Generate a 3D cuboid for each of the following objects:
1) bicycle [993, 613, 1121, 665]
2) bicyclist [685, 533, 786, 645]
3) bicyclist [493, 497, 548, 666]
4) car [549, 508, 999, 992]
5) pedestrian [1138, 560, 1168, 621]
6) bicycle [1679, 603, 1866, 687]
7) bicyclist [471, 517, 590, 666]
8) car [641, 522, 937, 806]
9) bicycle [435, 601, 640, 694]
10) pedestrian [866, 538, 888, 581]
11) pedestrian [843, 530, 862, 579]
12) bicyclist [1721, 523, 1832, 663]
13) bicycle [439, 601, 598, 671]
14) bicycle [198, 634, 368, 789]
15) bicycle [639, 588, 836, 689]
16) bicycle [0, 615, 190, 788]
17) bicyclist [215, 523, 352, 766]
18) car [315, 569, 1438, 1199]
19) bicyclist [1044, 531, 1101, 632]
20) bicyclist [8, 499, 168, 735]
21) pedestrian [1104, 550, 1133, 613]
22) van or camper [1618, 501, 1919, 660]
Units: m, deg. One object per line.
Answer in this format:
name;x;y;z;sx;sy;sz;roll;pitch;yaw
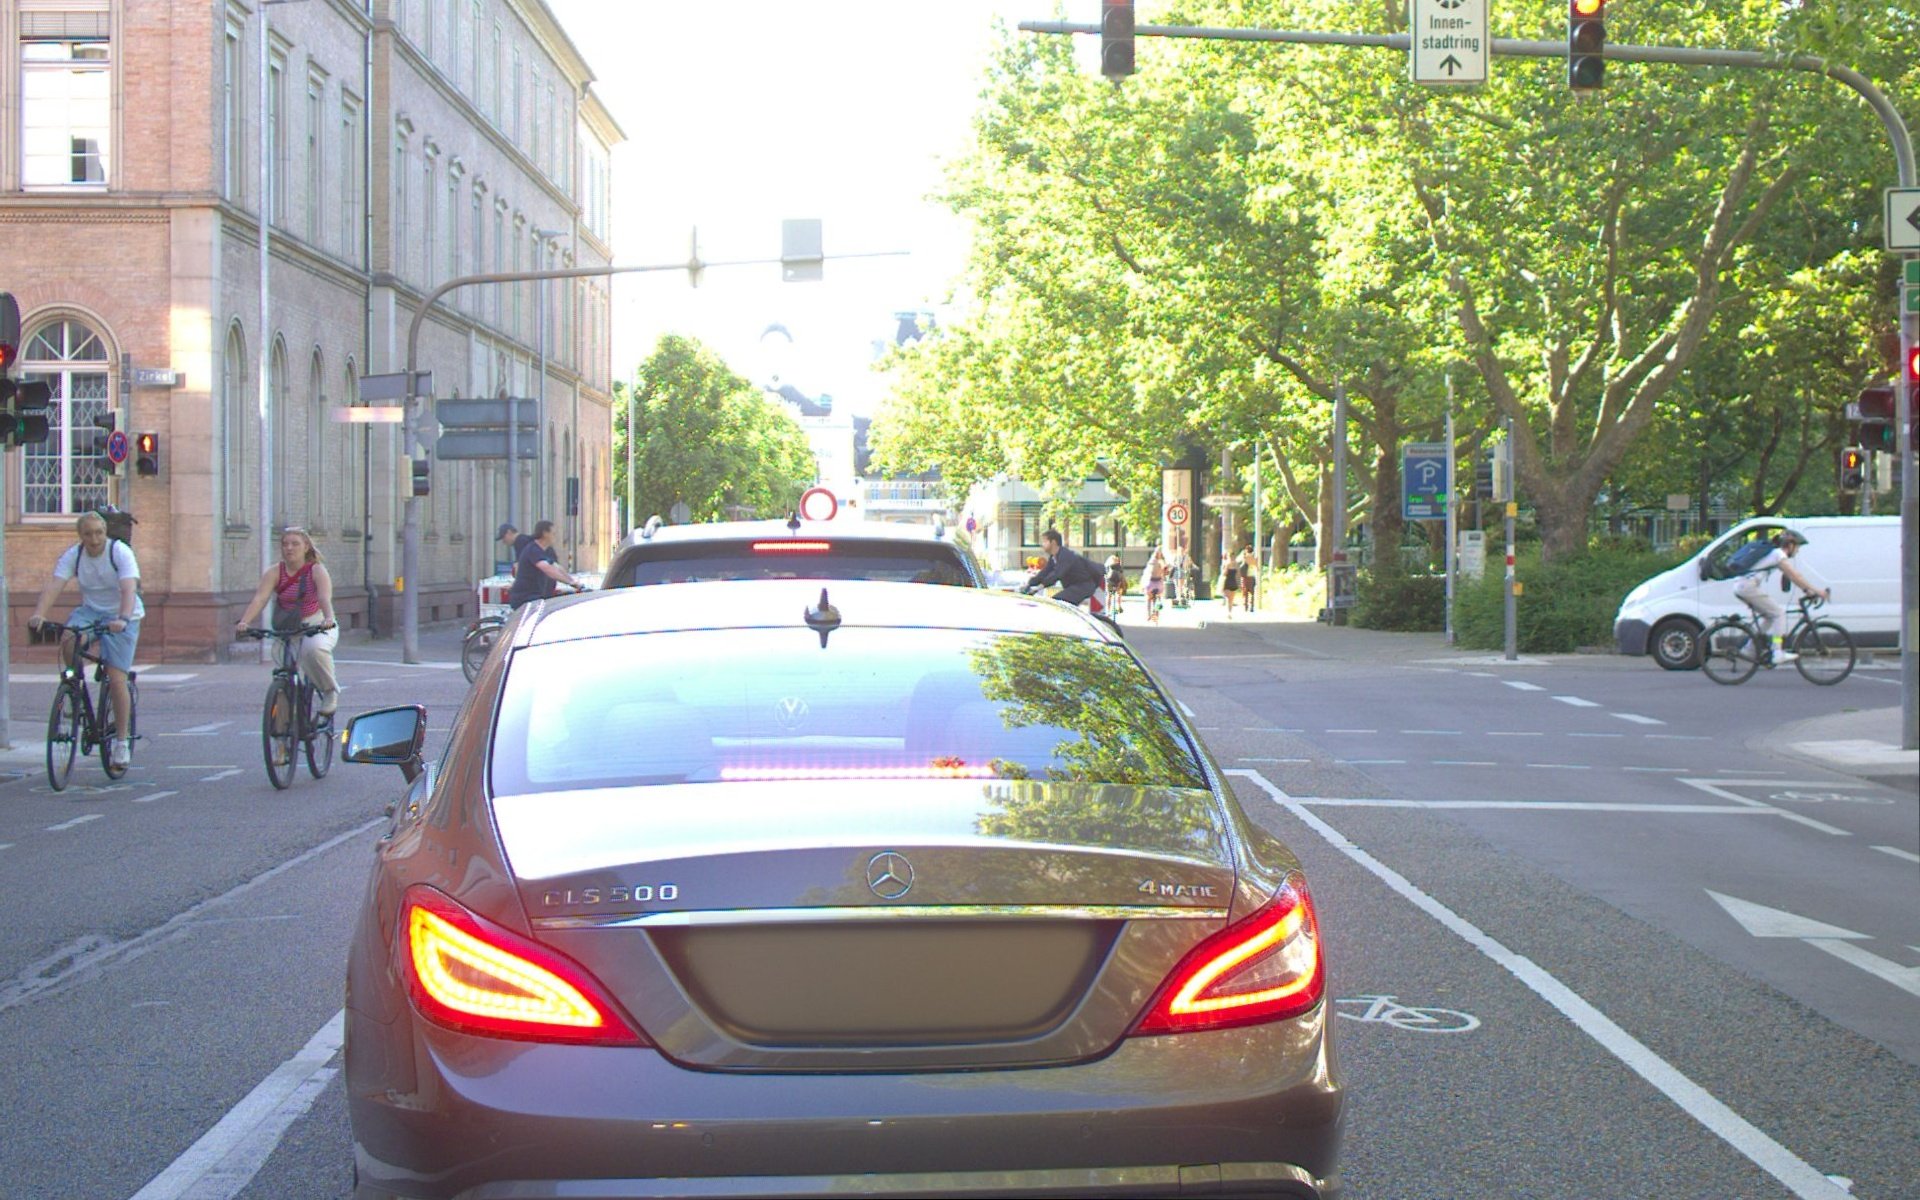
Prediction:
bicycle;1.211;0.482;42.931;1.587;0.632;0.496;0;1;3
bicyclist;-2.327;-0.123;35.745;0.991;1.150;0.620;0;1;2
bicyclist;-5.281;-0.225;41.288;0.652;2.007;0.440;0;1;-8
car;-0.724;0.483;13.692;1.517;1.641;3.881;1;1;-3
pedestrian;4.593;-0.231;81.874;0.648;1.428;0.659;0;1;-1
bicycle;8.889;0.487;37.656;1.893;0.879;0.725;0;1;4
bicyclist;-4.321;-0.092;34.625;1.116;1.485;0.712;0;1;-1
car;-1.080;0.362;23.252;1.820;1.756;4.000;0;1;-1
bicycle;-4.246;0.474;34.641;1.986;0.900;0.734;0;1;0
pedestrian;-3.092;-1.503;127.869;0.801;1.571;0.845;0;1;-1
pedestrian;-4.194;-1.778;134.103;0.721;1.895;0.704;0;1;-1
bicyclist;8.933;-0.083;37.651;1.075;1.514;0.716;0;1;5
bicycle;-5.300;0.431;41.296;1.891;0.834;0.458;0;1;-8
bicycle;-4.465;0.718;22.778;0.693;0.926;1.863;0;1;2
bicycle;-2.307;0.398;35.759;1.980;1.024;0.651;0;1;2
bicycle;-5.839;0.660;23.095;0.863;1.075;1.836;0;1;2
bicyclist;-4.473;0.280;22.785;0.685;1.572;0.982;0;1;2
car;-0.405;0.679;7.662;1.803;1.451;4.352;0;1;-8
bicyclist;1.410;-0.240;43.017;0.704;1.256;0.457;0;1;4
bicyclist;-5.841;0.106;23.075;0.842;1.549;0.839;0;1;2
pedestrian;3.799;-0.436;82.313;0.648;1.498;0.637;0;1;-1
van or camper;10.643;-0.262;43.068;4.582;1.935;1.999;0;1;14
